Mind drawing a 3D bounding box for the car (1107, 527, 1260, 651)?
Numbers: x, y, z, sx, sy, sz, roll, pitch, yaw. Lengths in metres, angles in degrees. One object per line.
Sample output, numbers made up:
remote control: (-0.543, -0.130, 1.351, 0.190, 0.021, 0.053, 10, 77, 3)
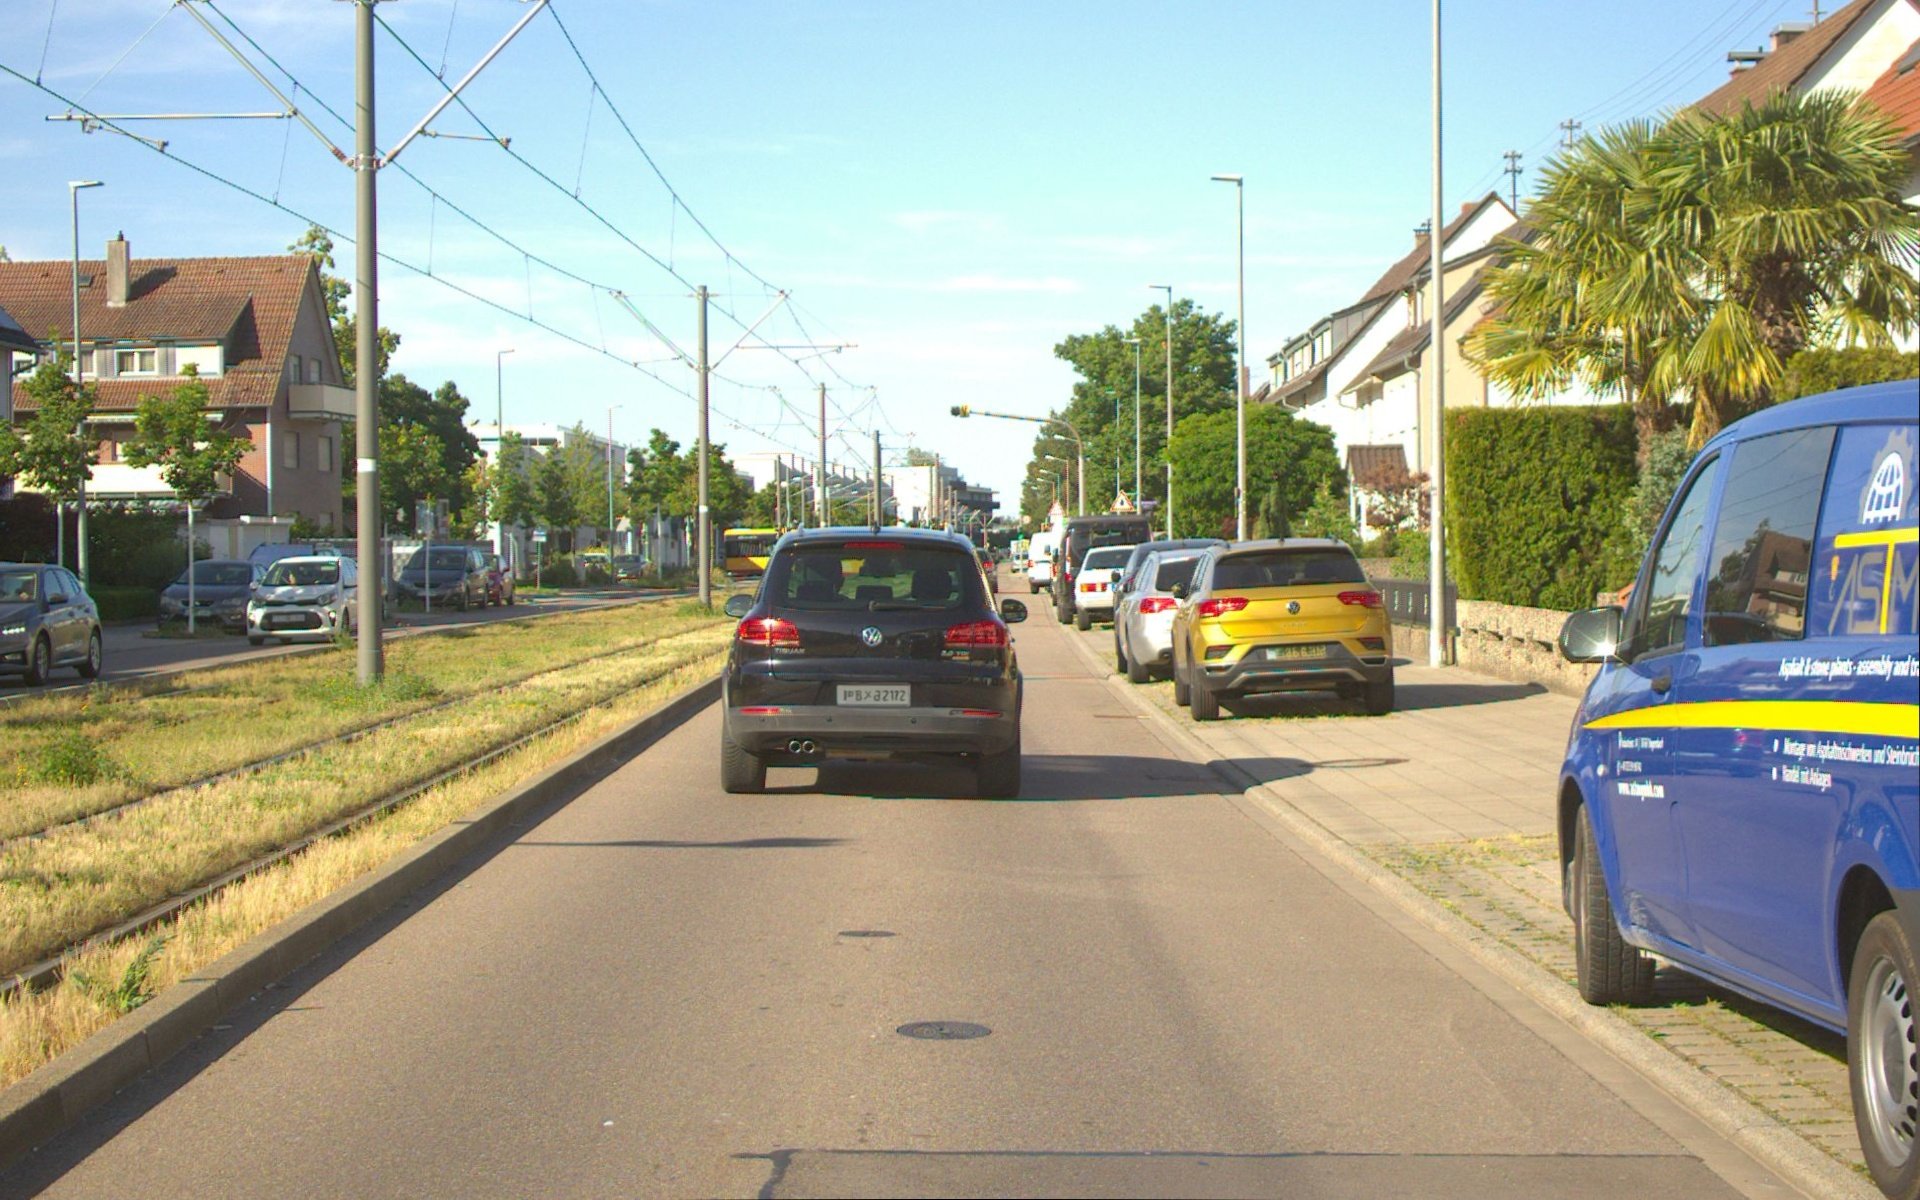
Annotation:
car: (2.857, -0.181, 44.753, 1.777, 1.493, 4.728, -1, 1, 1)

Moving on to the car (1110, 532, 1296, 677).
car: (2.724, -0.001, 39.388, 1.748, 1.442, 4.699, -1, 2, 0)

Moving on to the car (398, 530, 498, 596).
car: (-13.671, -0.999, 91.978, 1.819, 1.678, 4.846, 1, 1, 1)

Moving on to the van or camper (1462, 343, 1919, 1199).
van or camper: (2.870, 0.337, 9.615, 1.949, 1.840, 5.583, -2, 1, -1)

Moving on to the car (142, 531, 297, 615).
car: (-14.274, -0.528, 66.498, 1.960, 1.535, 4.557, 1, 1, 1)

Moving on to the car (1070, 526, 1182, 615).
car: (2.928, -0.570, 61.570, 1.853, 1.439, 5.613, -2, 1, 2)

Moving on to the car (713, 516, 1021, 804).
car: (-0.580, 0.328, 22.146, 1.775, 1.664, 4.000, 1, 1, -1)

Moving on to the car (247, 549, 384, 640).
car: (-10.902, -0.118, 58.359, 1.688, 1.470, 3.680, 1, 1, -1)

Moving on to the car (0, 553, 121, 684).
car: (-11.331, 0.180, 41.051, 1.688, 1.470, 4.083, 1, 1, -1)

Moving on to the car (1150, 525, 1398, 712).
car: (2.825, 0.124, 31.916, 1.805, 1.553, 4.927, -2, 1, 0)
